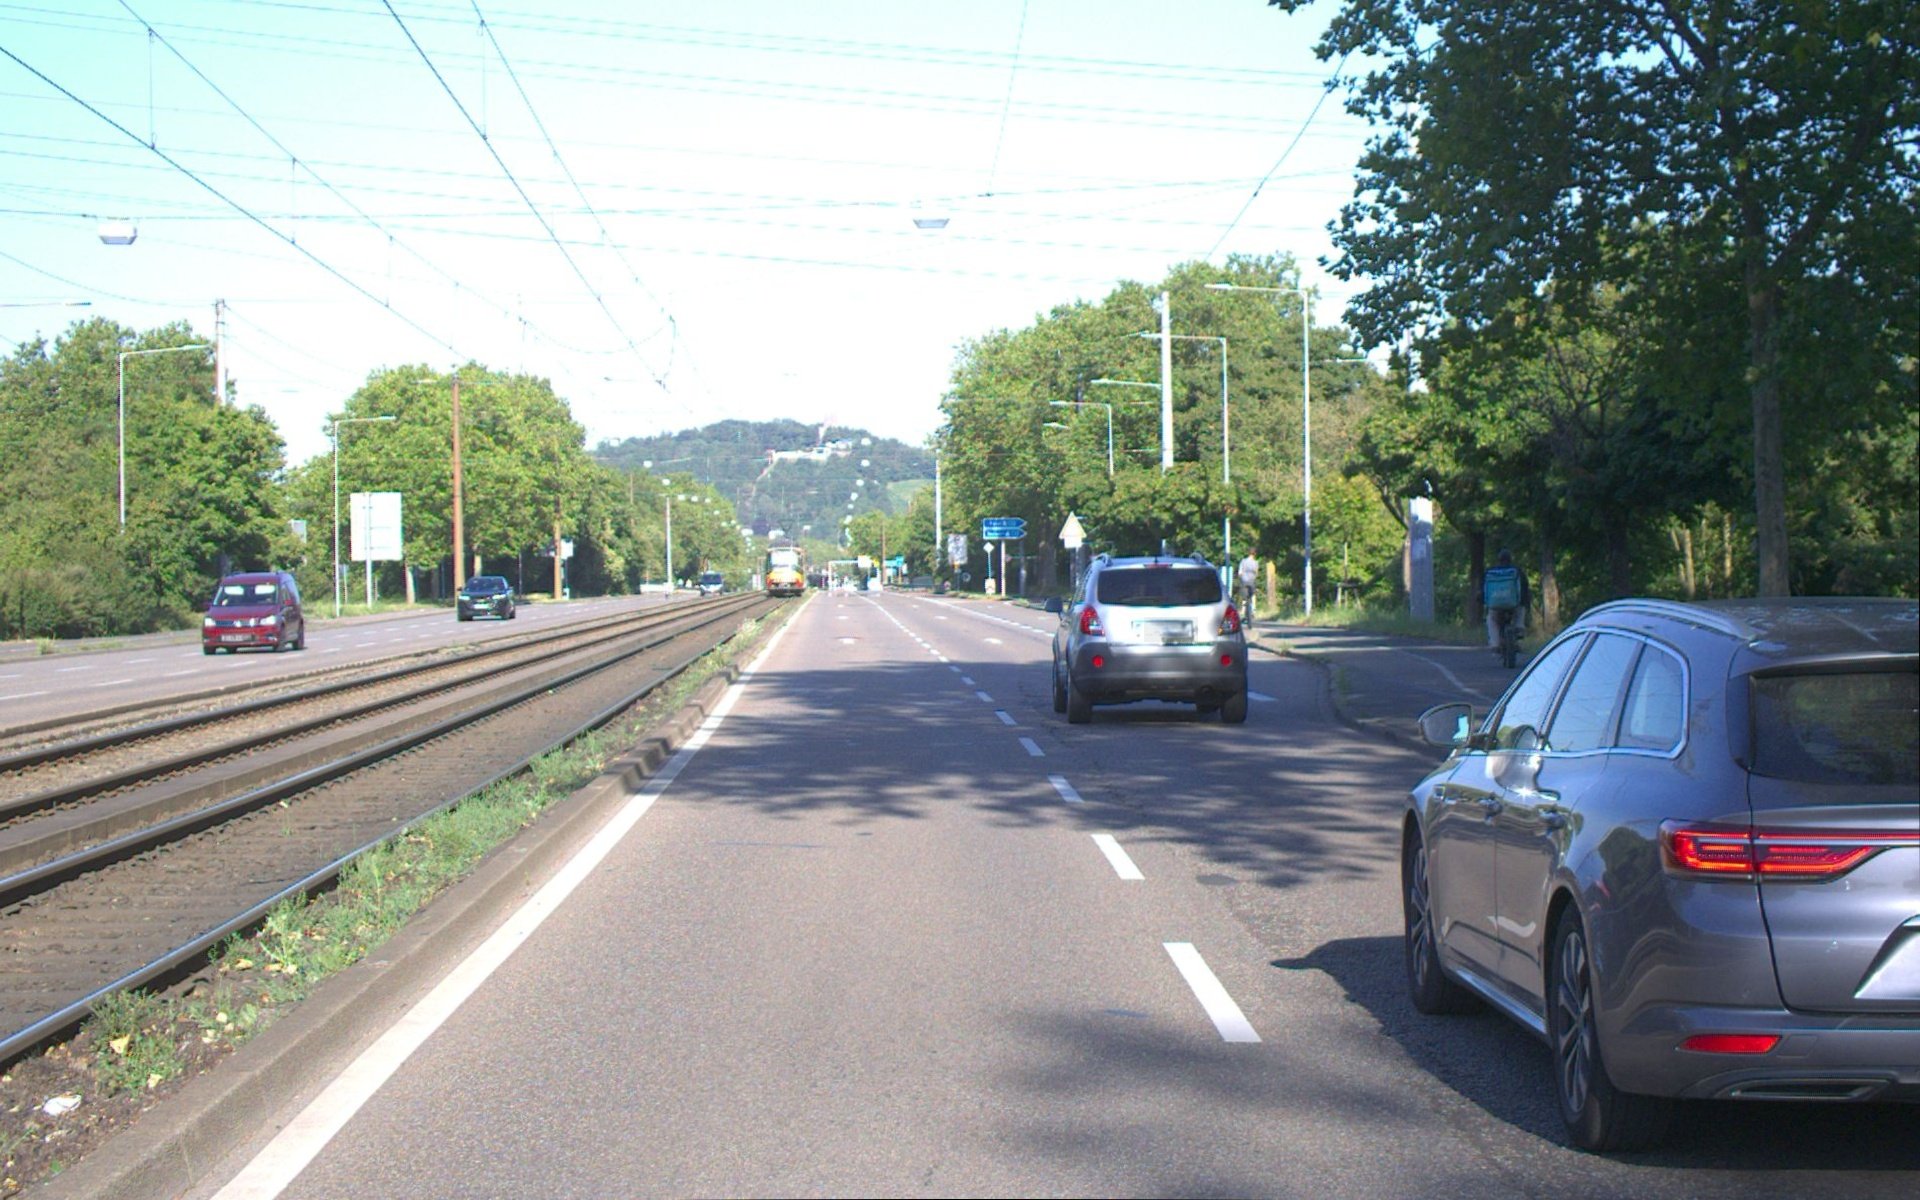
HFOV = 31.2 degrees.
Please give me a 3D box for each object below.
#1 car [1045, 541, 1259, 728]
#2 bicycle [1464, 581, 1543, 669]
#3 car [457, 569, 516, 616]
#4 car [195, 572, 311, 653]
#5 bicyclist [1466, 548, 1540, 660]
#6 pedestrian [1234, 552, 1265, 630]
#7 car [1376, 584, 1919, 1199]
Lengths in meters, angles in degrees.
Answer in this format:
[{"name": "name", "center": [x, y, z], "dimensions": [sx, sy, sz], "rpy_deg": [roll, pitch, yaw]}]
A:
[{"name": "car", "center": [1.961, 0.309, 36.289], "dimensions": [1.883, 1.789, 4.001], "rpy_deg": [2, 1, -2]}, {"name": "bicycle", "center": [7.350, 0.327, 46.574], "dimensions": [0.795, 1.090, 1.894], "rpy_deg": [-3, 1, 2]}, {"name": "car", "center": [-17.920, -0.312, 130.205], "dimensions": [1.905, 1.638, 4.001], "rpy_deg": [2, 1, -4]}, {"name": "car", "center": [-15.959, 0.251, 77.771], "dimensions": [1.862, 1.714, 4.001], "rpy_deg": [0, 1, -1]}, {"name": "bicyclist", "center": [7.336, 0.048, 46.470], "dimensions": [0.795, 1.455, 1.112], "rpy_deg": [-3, 1, 2]}, {"name": "pedestrian", "center": [6.979, -0.222, 82.983], "dimensions": [0.626, 1.865, 0.624], "rpy_deg": [2, 1, -1]}, {"name": "car", "center": [2.467, 0.699, 10.225], "dimensions": [1.866, 1.462, 4.666], "rpy_deg": [0, 1, 0]}]
